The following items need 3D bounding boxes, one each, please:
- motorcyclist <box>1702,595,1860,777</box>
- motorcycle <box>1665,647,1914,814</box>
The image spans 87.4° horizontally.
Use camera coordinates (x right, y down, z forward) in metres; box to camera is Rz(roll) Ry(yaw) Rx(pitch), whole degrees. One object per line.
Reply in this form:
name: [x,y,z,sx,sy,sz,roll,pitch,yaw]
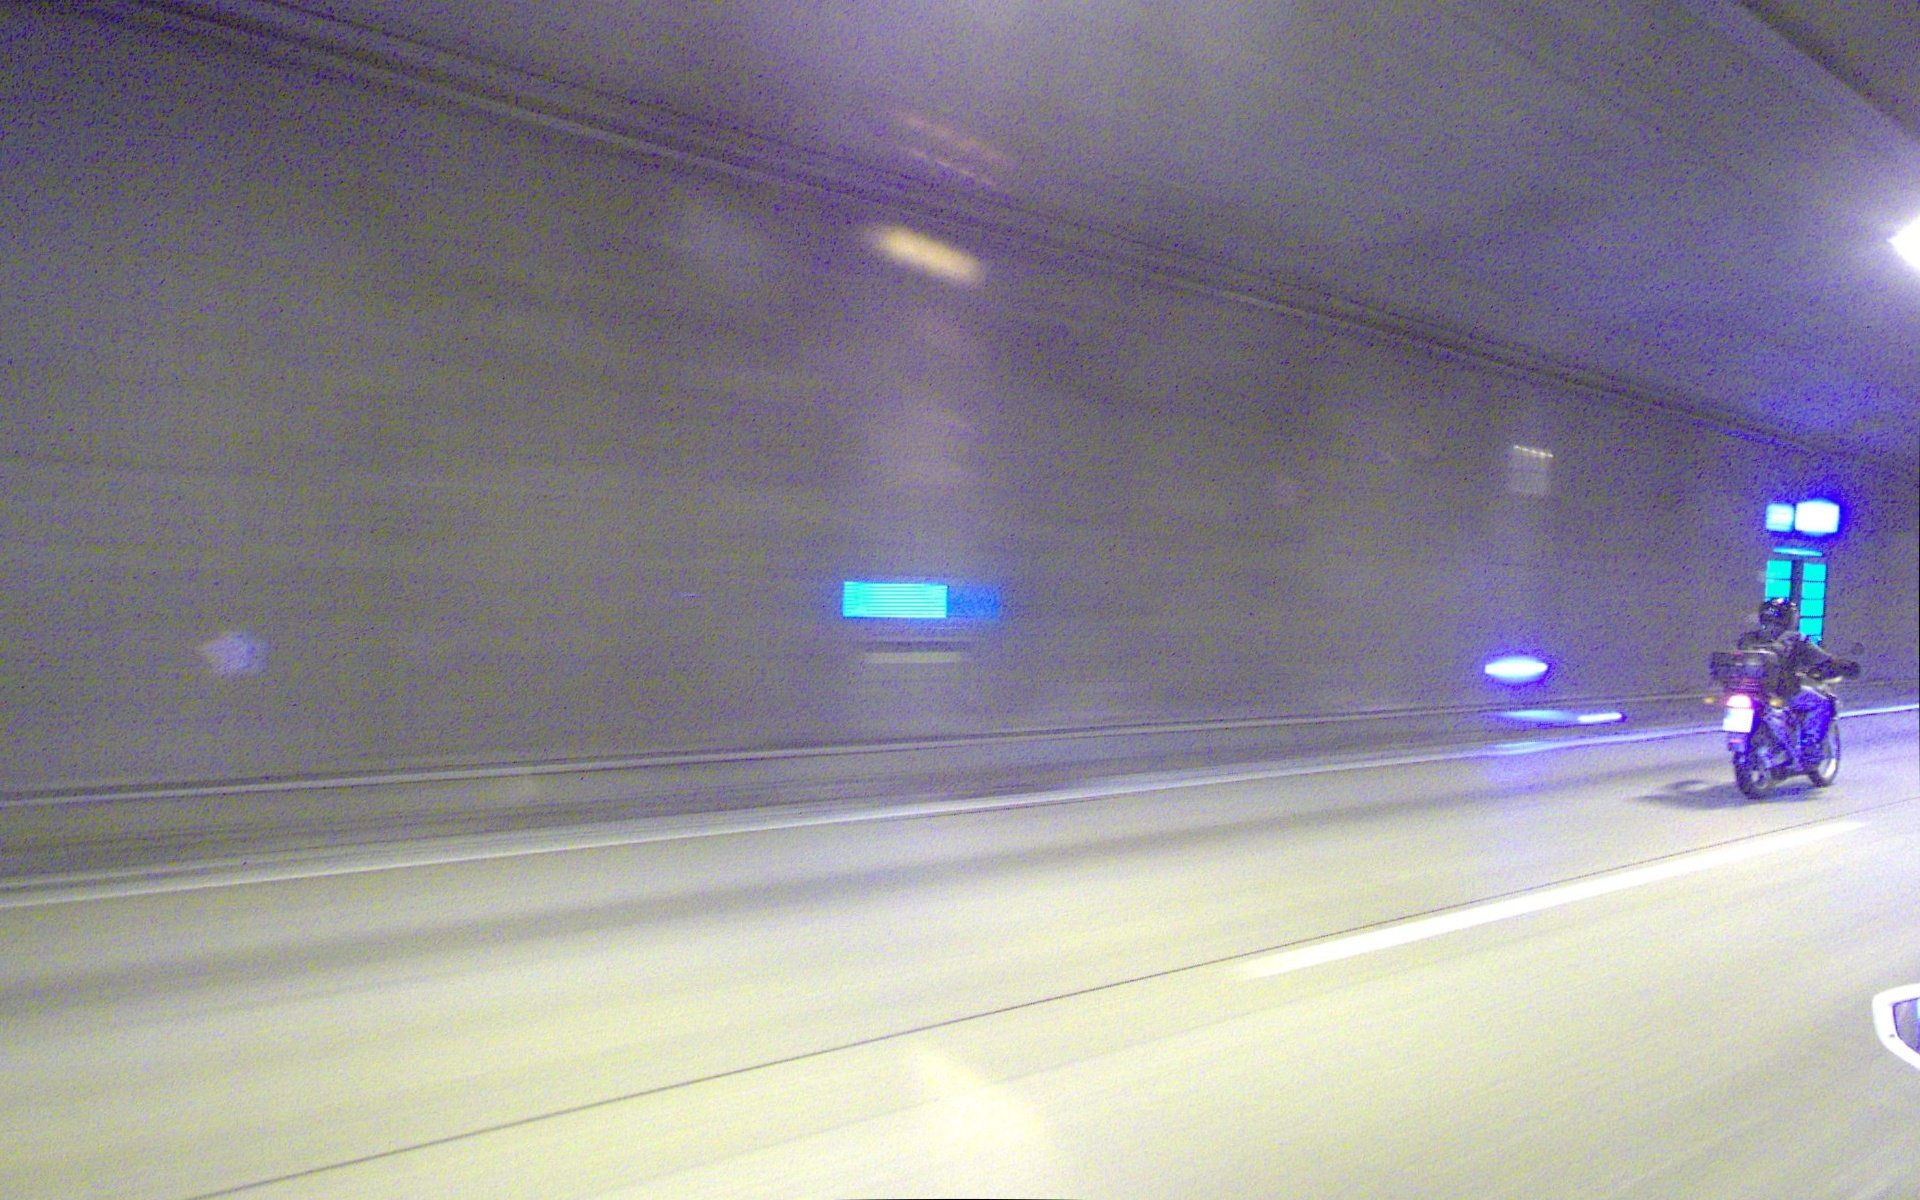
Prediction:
motorcyclist: [7.194,0.717,8.816,0.811,1.497,0.835,1,-1,-29]
motorcycle: [7.388,1.071,8.910,2.573,1.262,0.842,1,0,-29]
